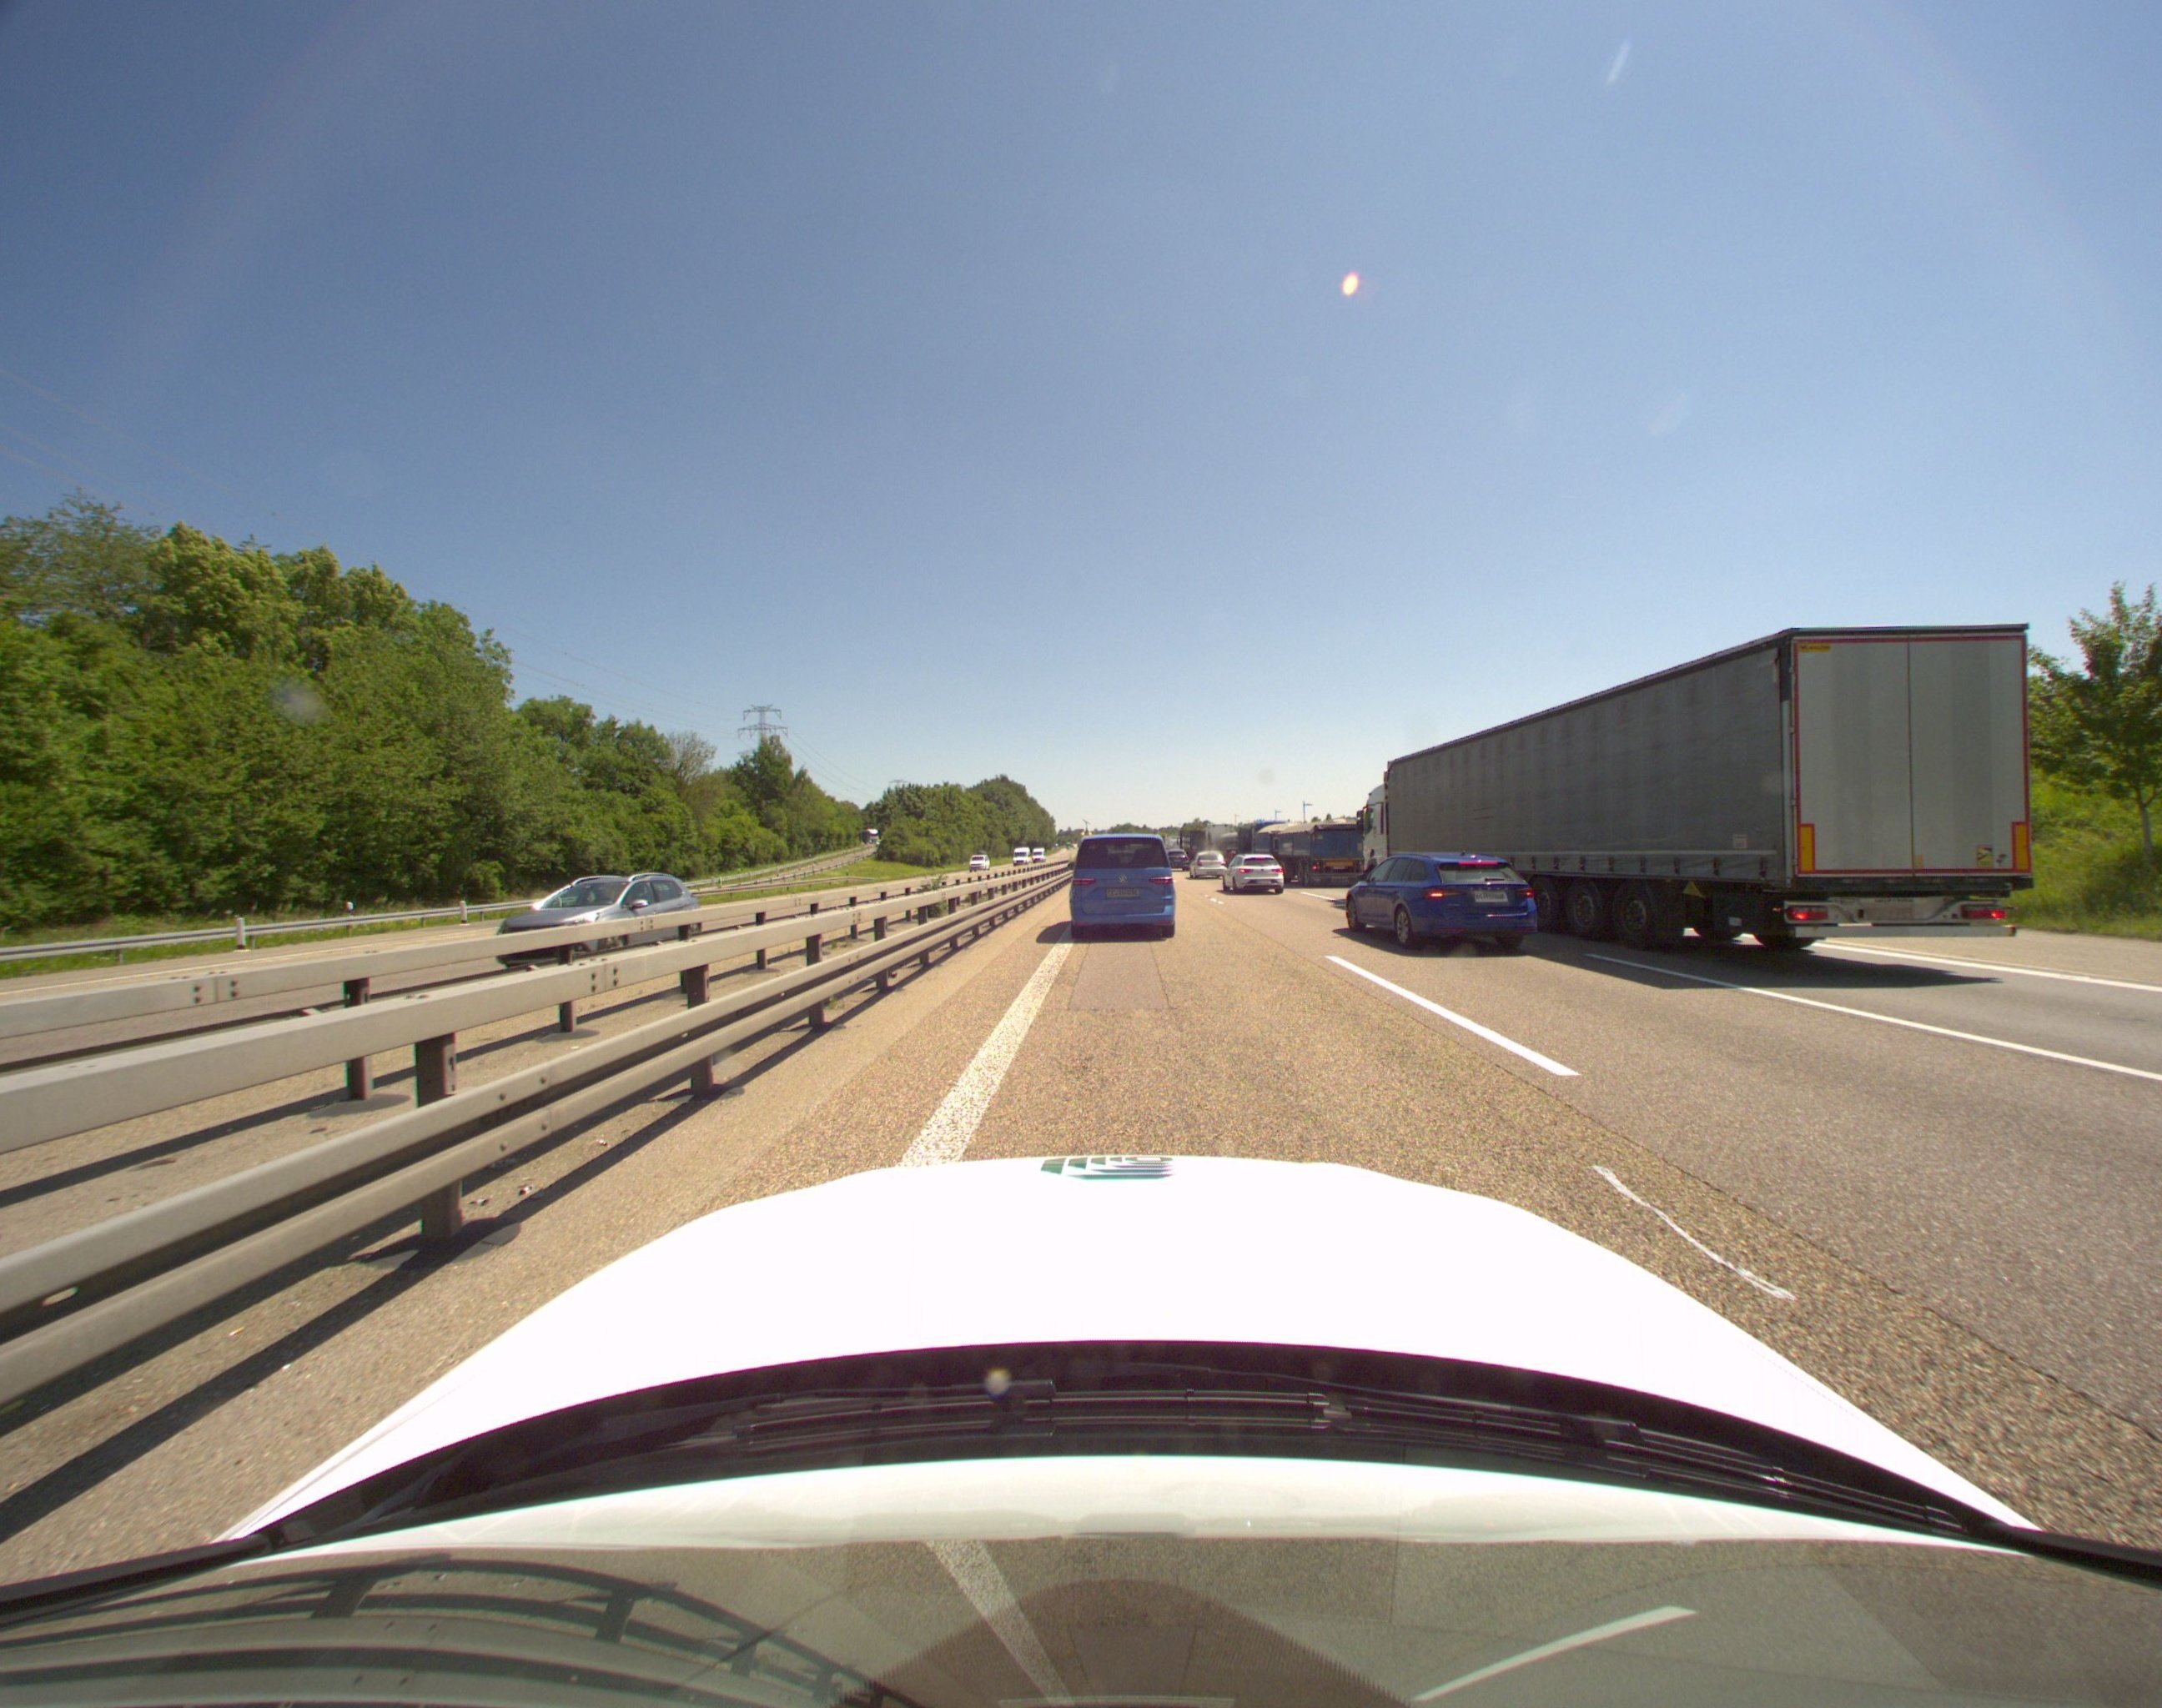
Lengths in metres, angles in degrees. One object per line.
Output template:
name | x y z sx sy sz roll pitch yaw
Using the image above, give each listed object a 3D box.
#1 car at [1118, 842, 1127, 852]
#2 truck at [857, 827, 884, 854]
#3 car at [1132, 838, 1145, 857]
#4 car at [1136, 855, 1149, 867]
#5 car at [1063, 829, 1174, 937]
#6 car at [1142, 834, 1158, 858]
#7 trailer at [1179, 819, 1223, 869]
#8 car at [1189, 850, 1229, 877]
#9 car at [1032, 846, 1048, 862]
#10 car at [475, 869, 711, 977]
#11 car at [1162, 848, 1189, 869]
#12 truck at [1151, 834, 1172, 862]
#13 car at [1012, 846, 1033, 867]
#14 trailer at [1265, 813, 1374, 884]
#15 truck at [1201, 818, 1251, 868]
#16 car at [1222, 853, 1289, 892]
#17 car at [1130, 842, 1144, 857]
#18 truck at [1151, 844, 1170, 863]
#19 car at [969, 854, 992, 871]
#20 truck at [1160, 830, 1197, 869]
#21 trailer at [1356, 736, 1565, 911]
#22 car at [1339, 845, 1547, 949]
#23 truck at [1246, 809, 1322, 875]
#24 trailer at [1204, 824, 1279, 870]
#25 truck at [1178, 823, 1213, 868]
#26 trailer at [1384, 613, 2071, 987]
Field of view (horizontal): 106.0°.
car | 13.075 -2.210 258.050 2.478 3.204 7.369 0 -1 0
truck | -59.789 -3.640 230.907 4.698 7.228 13.517 0 -1 -28
car | 17.027 -1.865 241.228 3.209 5.257 8.140 0 -1 -1
car | 9.936 1.117 131.578 1.986 2.014 4.002 0 -1 2
car | 0.781 0.520 15.933 1.893 1.838 4.004 0 -1 4
car | 15.691 -1.861 186.073 3.205 5.257 8.149 0 -1 3
trailer | 13.205 -0.931 90.901 3.631 5.136 13.086 0 -1 3
car | 7.205 0.553 46.051 1.833 1.454 4.003 0 -1 3
car | -7.006 0.034 139.893 2.147 2.594 5.893 -2 -1 2
car | -8.463 1.106 14.610 1.767 1.631 3.952 0 -1 1
car | 7.265 0.350 62.765 1.774 1.524 4.002 0 -1 2
truck | 14.541 -1.001 147.956 3.056 4.920 10.695 0 -1 2
car | -7.774 0.345 109.202 2.045 2.651 5.841 -3 -1 2
trailer | 10.628 -0.288 37.291 2.732 2.836 9.122 0 1 3
truck | 12.565 -0.852 71.305 3.609 4.094 7.532 0 -1 4
car | 6.353 0.633 30.048 1.859 1.361 4.004 0 0 4
car | 10.922 -0.888 158.427 2.541 2.717 5.624 0 -1 2
truck | 8.057 -0.033 83.025 1.718 1.857 4.002 0 -1 2
car | -12.051 1.014 98.084 1.858 1.904 5.493 -3 -1 1
truck | 13.707 -0.490 115.758 3.608 5.213 15.691 0 -1 1
trailer | 9.941 -0.728 22.230 2.912 4.044 6.415 -1 0 3
car | 5.743 0.621 13.563 1.699 1.441 4.431 0 -1 3
truck | 10.972 -0.667 44.702 2.732 3.311 7.138 0 1 3
trailer | 11.865 -0.377 62.084 3.630 3.079 15.787 0 -1 4
truck | 13.561 -0.956 97.092 3.644 5.180 5.711 0 -1 2
trailer | 9.636 -0.585 15.815 2.950 4.049 13.761 -1 0 3
